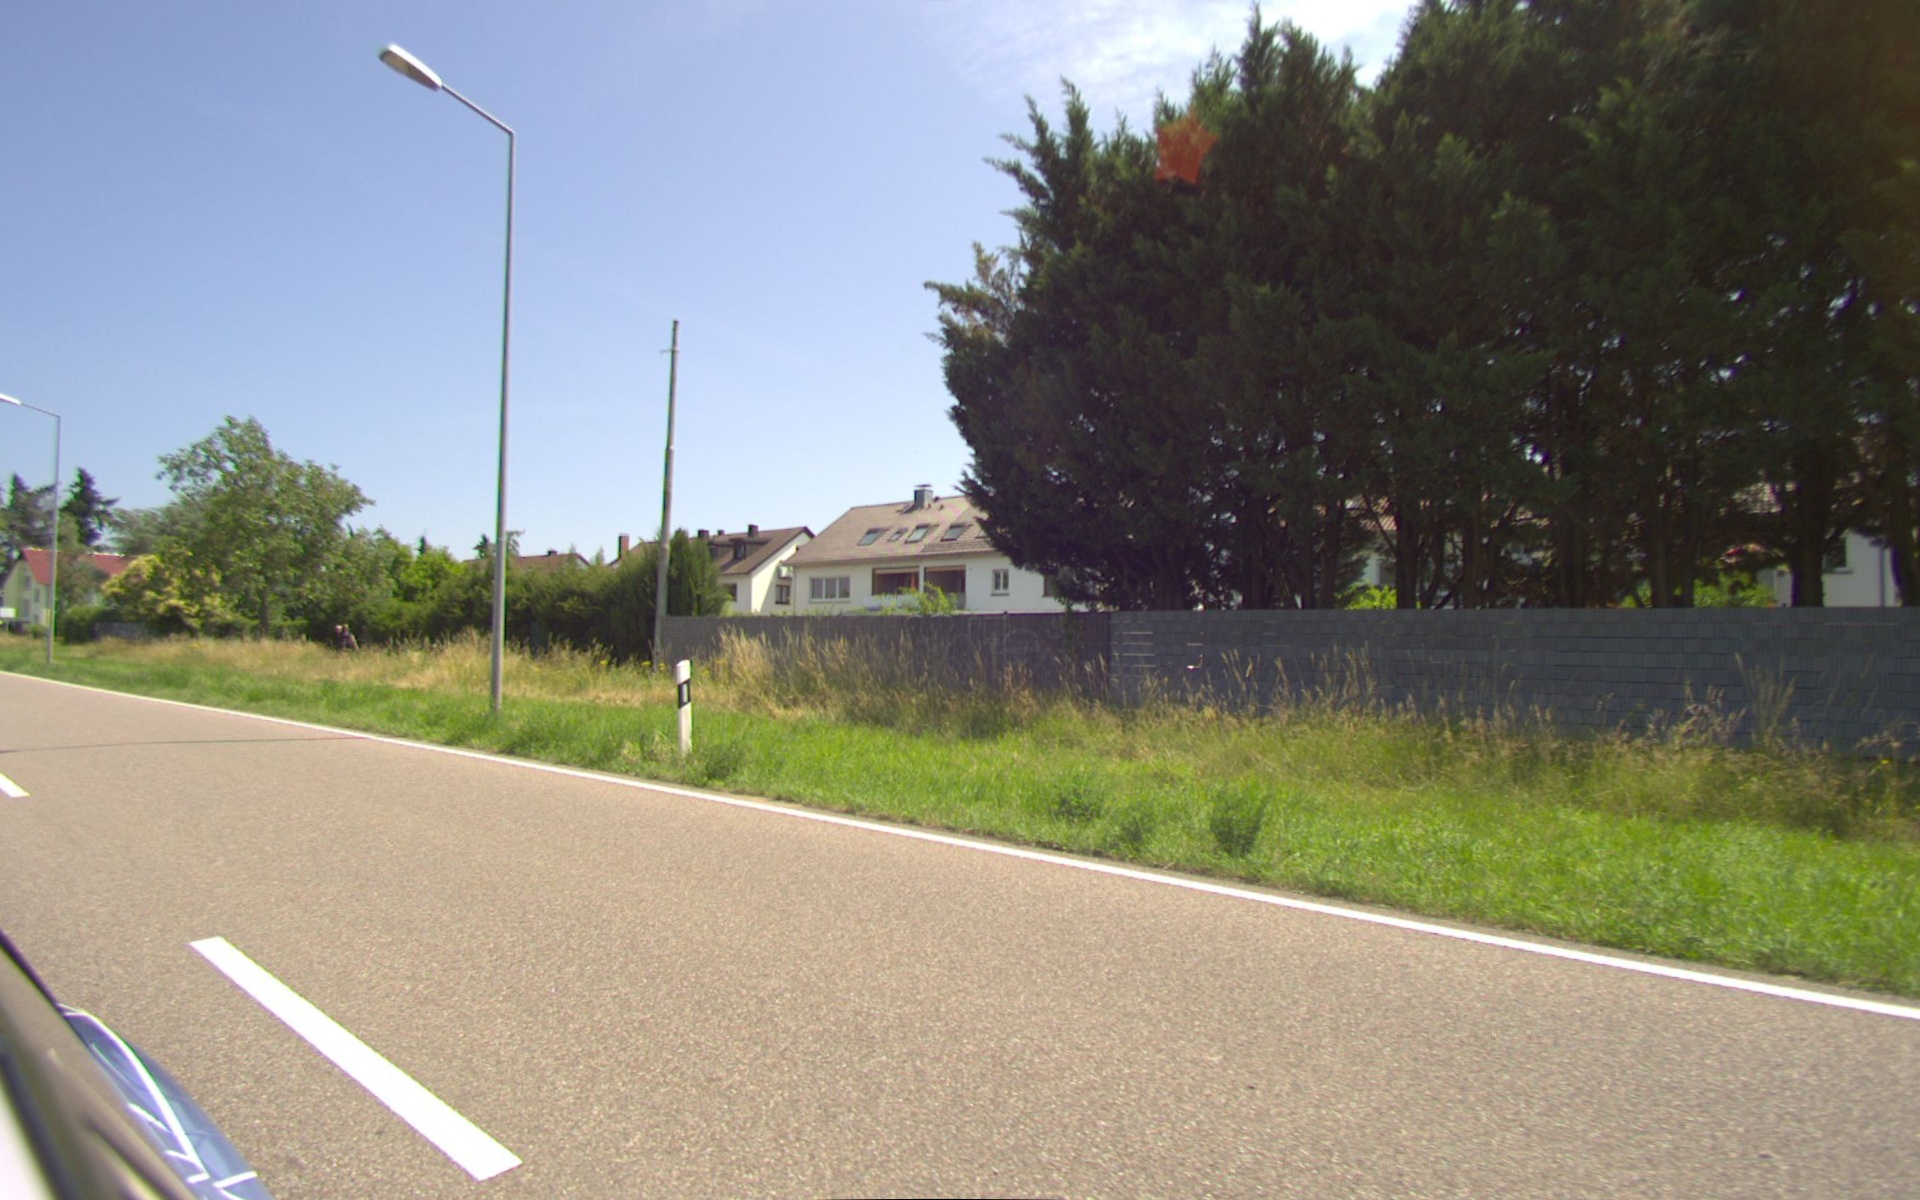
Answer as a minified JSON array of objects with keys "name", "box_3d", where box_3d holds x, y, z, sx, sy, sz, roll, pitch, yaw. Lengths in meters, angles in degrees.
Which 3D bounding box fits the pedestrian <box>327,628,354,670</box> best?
[{"name":"pedestrian","box_3d":[-21.917,1.723,35.809,0.633,1.489,0.603,-2,-2,39]}]
